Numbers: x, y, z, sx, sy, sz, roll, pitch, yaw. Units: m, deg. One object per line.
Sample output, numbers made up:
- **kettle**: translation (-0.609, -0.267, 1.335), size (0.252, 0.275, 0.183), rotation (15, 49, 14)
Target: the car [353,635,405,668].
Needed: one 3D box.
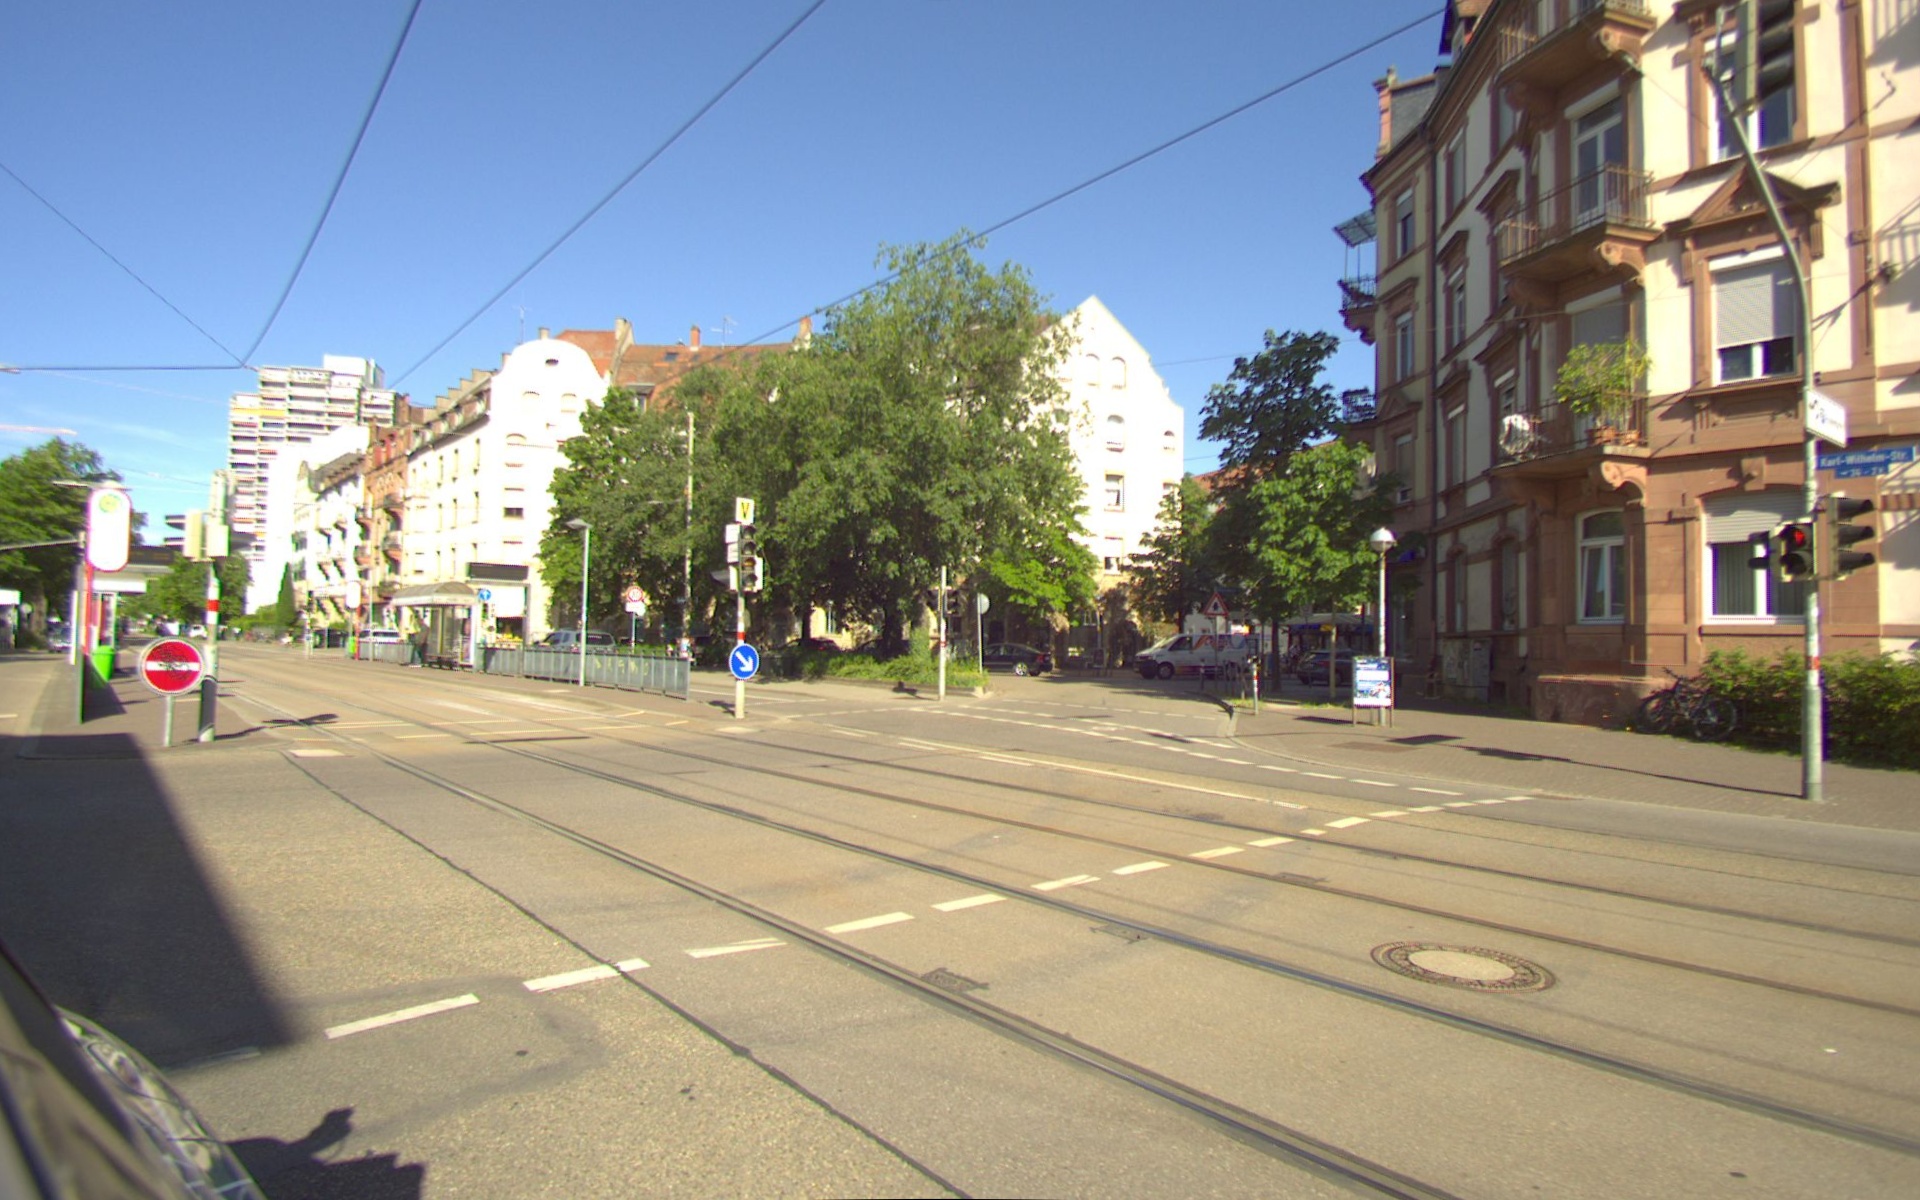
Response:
- **car**: translation (-30.125, 2.665, 52.432), size (1.668, 1.552, 3.806), rotation (7, -5, -38)

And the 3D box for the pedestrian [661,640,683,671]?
- **pedestrian**: translation (-12.103, 2.324, 42.476), size (0.649, 1.291, 0.725), rotation (1, -2, -41)

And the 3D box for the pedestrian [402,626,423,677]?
- **pedestrian**: translation (-19.610, 1.830, 36.274), size (0.459, 1.798, 0.674), rotation (3, -3, -42)

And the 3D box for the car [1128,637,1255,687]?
- **car**: translation (9.650, 2.553, 42.329), size (4.777, 1.957, 1.930), rotation (0, -2, -12)

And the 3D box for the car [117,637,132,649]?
- **car**: translation (-150.654, 7.773, 182.531), size (1.969, 2.029, 4.006), rotation (1, -2, -41)

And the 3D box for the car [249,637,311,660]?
- **car**: translation (-54.519, 3.861, 81.167), size (1.819, 1.600, 3.831), rotation (4, 2, 44)

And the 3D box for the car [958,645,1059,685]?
- **car**: translation (2.087, 2.817, 43.754), size (3.996, 1.554, 1.724), rotation (0, -4, 27)

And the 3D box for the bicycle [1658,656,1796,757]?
- **bicycle**: translation (11.160, 1.514, 14.816), size (0.414, 1.306, 2.046), rotation (0, -1, 0)

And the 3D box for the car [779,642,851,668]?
- **car**: translation (-7.239, 2.735, 50.397), size (3.448, 1.225, 1.510), rotation (-1, -2, 34)

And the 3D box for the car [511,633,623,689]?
- **car**: translation (-12.529, 1.910, 32.118), size (1.874, 1.630, 4.270), rotation (5, -4, -42)

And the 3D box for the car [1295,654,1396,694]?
- **car**: translation (15.082, 2.867, 39.608), size (3.397, 1.453, 1.583), rotation (0, -2, -16)

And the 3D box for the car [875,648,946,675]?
- **car**: translation (-2.279, 2.811, 46.634), size (3.142, 1.104, 1.449), rotation (-2, -2, 40)
